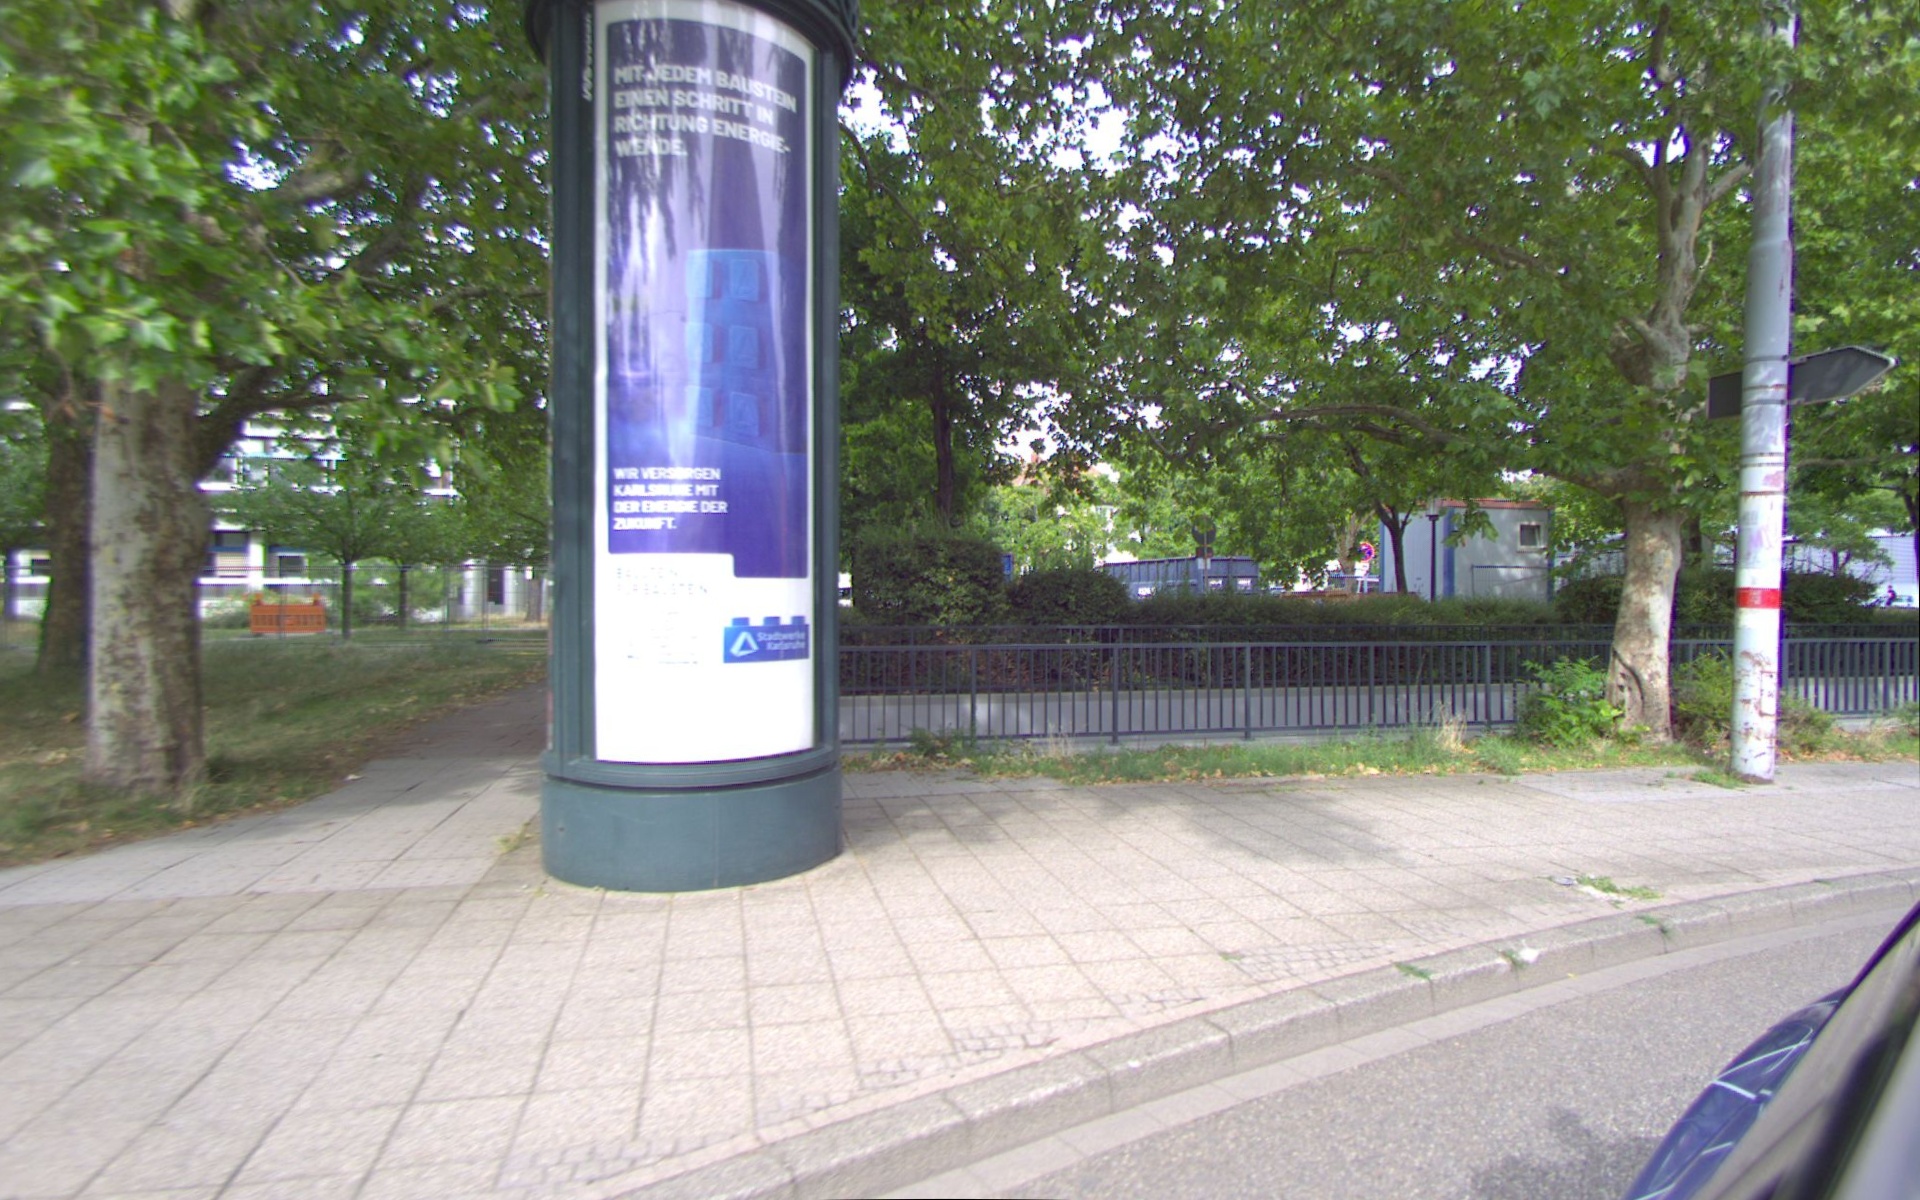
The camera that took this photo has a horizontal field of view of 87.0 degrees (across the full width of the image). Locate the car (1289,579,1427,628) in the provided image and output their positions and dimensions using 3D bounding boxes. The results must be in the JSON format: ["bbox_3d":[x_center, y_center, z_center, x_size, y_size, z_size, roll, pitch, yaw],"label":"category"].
[{"bbox_3d":[15.255,0.151,38.823,4.672,1.817,2.004,0,-1,-16],"label":"car"}]

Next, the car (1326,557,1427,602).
[{"bbox_3d":[25.785,-1.242,62.749,5.381,2.647,2.447,0,-1,-16],"label":"car"}]

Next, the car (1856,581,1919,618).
[{"bbox_3d":[53.919,-0.017,57.497,1.958,2.039,4.007,1,-1,-22],"label":"car"}]
